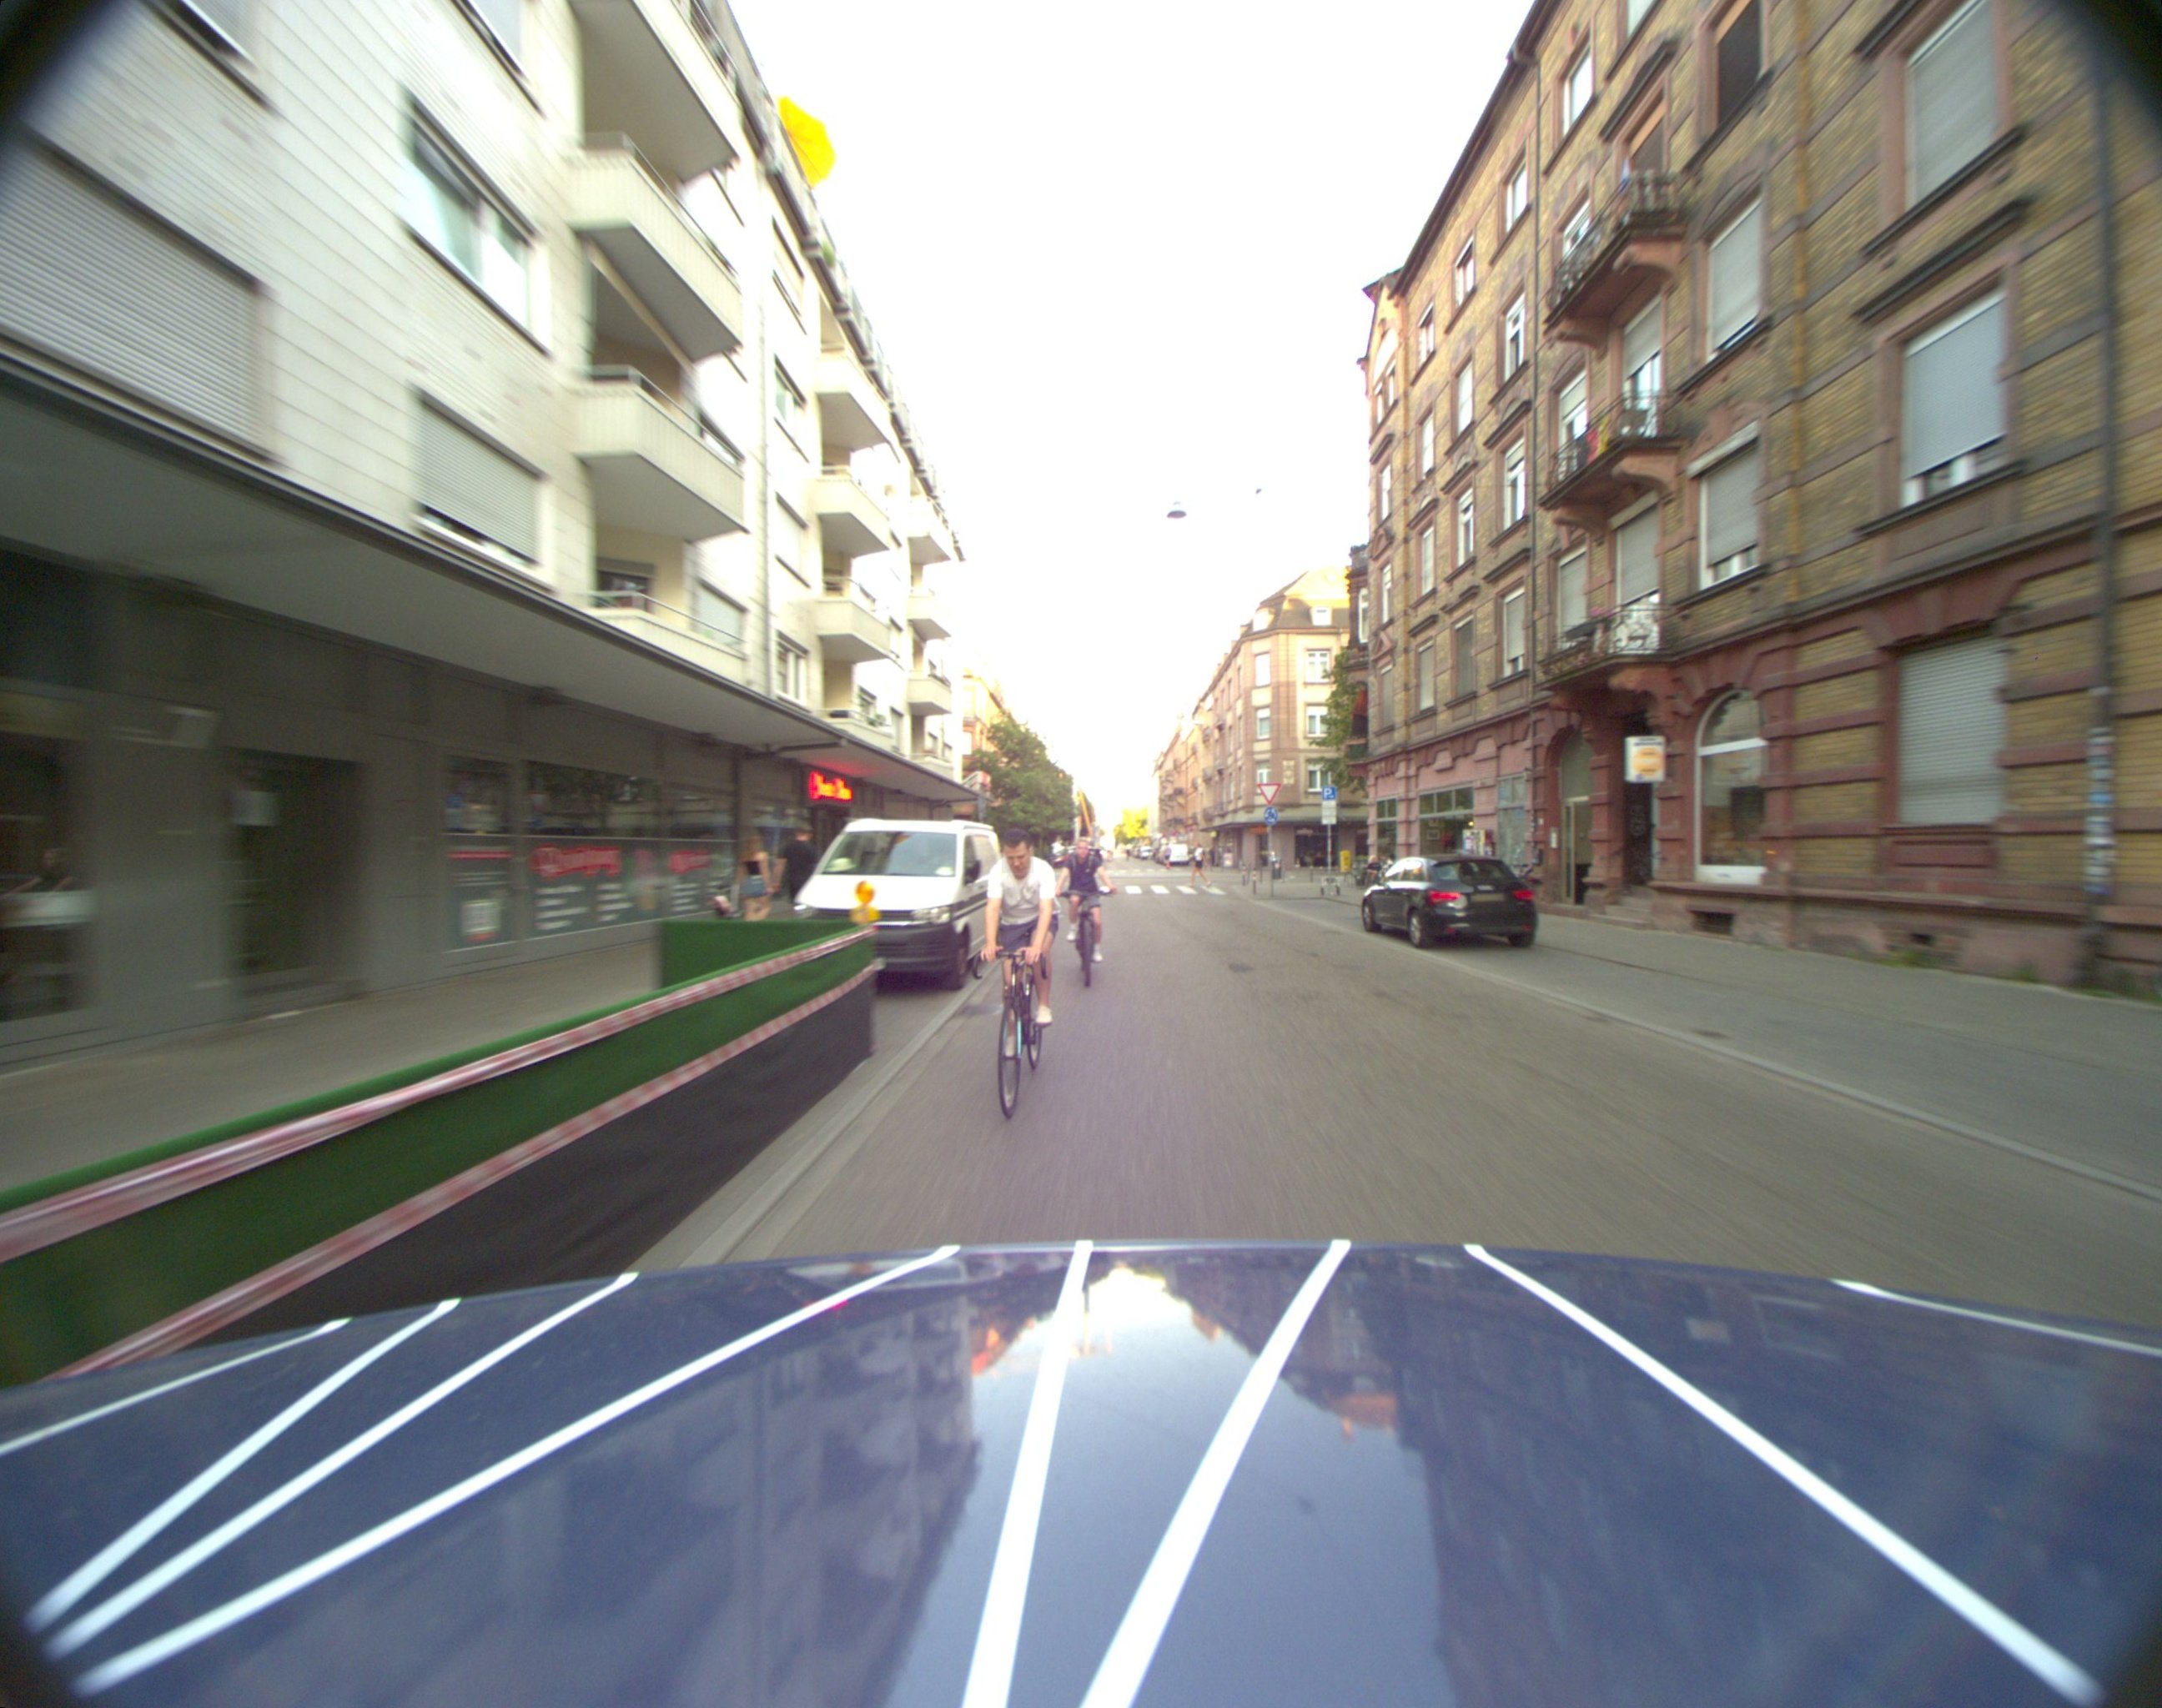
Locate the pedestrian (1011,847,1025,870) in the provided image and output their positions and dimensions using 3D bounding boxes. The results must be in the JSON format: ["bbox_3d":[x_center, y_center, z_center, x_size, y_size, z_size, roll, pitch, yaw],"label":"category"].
[{"bbox_3d":[-4.394,0.308,52.857,0.537,1.597,0.870,0,0,29],"label":"pedestrian"}]

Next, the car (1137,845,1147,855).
[{"bbox_3d":[11.631,-0.775,145.187,1.867,1.729,3.800,-1,2,5],"label":"car"}]

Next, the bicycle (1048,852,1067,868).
[{"bbox_3d":[-1.903,0.457,60.358,0.666,1.158,2.111,1,1,-25],"label":"bicycle"}]

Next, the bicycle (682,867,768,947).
[{"bbox_3d":[-5.934,0.850,12.782,0.913,1.189,1.709,1,1,-11],"label":"bicycle"}]

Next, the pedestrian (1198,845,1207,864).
[{"bbox_3d":[10.874,0.042,67.953,0.748,1.734,1.213,-1,1,7],"label":"pedestrian"}]

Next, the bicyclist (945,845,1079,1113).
[{"bbox_3d":[-0.393,0.706,4.769,0.650,1.500,0.953,-1,2,4],"label":"bicyclist"}]

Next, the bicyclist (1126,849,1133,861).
[{"bbox_3d":[6.894,0.155,107.541,0.754,1.631,1.201,-1,0,-4],"label":"bicyclist"}]

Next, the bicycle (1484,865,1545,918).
[{"bbox_3d":[9.576,0.794,16.838,0.426,1.047,1.898,-1,1,6],"label":"bicycle"}]

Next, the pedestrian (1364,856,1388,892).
[{"bbox_3d":[9.664,0.656,24.891,0.504,1.137,0.791,-1,2,4],"label":"pedestrian"}]

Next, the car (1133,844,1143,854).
[{"bbox_3d":[11.342,-0.977,150.908,1.908,1.729,3.850,-1,2,5],"label":"car"}]

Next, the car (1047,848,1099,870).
[{"bbox_3d":[-0.649,0.375,64.074,4.006,1.659,1.823,-2,2,-29],"label":"car"}]

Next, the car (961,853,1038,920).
[{"bbox_3d":[-2.016,0.767,19.627,1.596,1.492,3.423,1,1,0],"label":"car"}]

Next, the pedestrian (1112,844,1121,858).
[{"bbox_3d":[6.375,-0.534,137.038,1.394,2.465,1.237,0,1,19],"label":"pedestrian"}]

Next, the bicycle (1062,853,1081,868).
[{"bbox_3d":[-0.763,0.506,60.965,0.666,1.125,2.111,1,1,-25],"label":"bicycle"}]

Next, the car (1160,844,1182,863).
[{"bbox_3d":[9.034,-0.075,76.202,1.879,1.893,4.326,-1,1,3],"label":"car"}]

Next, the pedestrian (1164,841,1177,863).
[{"bbox_3d":[6.773,-0.170,57.570,0.809,1.650,0.672,0,1,-7],"label":"pedestrian"}]

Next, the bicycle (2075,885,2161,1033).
[{"bbox_3d":[9.041,0.877,5.729,0.528,1.164,2.048,-3,0,5],"label":"bicycle"}]

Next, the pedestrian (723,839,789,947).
[{"bbox_3d":[-5.175,0.604,12.135,0.710,1.656,0.744,1,2,2],"label":"pedestrian"}]

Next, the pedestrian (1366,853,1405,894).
[{"bbox_3d":[9.542,0.603,23.820,0.650,1.247,0.907,-4,1,-13],"label":"pedestrian"}]

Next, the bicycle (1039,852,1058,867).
[{"bbox_3d":[-2.576,0.441,60.069,0.666,1.158,2.111,1,1,-25],"label":"bicycle"}]

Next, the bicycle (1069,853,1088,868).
[{"bbox_3d":[-0.177,0.524,61.290,0.666,1.125,2.111,1,1,-25],"label":"bicycle"}]

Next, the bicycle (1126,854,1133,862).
[{"bbox_3d":[6.904,0.594,107.544,0.754,1.124,1.975,-1,0,-4],"label":"bicycle"}]

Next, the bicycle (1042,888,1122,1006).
[{"bbox_3d":[0.076,1.046,9.245,0.794,1.133,2.343,-2,0,4],"label":"bicycle"}]

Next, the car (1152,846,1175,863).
[{"bbox_3d":[8.941,0.016,82.385,2.140,1.811,4.540,-1,1,3],"label":"car"}]

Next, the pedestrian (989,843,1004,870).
[{"bbox_3d":[-6.012,0.180,53.989,0.673,1.858,0.911,-1,2,16],"label":"pedestrian"}]

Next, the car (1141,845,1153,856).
[{"bbox_3d":[10.848,-0.581,125.078,1.998,1.729,4.000,-1,2,5],"label":"car"}]

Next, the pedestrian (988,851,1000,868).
[{"bbox_3d":[-6.654,0.393,58.027,0.676,1.265,0.639,-2,2,-25],"label":"pedestrian"}]

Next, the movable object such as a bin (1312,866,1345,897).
[{"bbox_3d":[7.768,0.867,23.860,0.763,0.910,0.729,-1,2,-1],"label":"movable object such as a bin"}]

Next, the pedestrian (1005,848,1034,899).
[{"bbox_3d":[-1.927,0.602,23.843,0.649,1.591,0.590,0,2,-38],"label":"pedestrian"}]

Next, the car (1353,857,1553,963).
[{"bbox_3d":[5.928,0.805,12.648,1.697,1.412,3.855,-1,0,5],"label":"car"}]

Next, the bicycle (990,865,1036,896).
[{"bbox_3d":[-2.321,0.896,26.034,1.481,0.996,0.511,1,2,8],"label":"bicycle"}]

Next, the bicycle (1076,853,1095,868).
[{"bbox_3d":[0.325,0.521,61.742,0.666,1.162,2.111,1,1,-25],"label":"bicycle"}]

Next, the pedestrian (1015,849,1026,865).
[{"bbox_3d":[-4.854,0.227,61.283,0.721,1.298,0.750,-1,1,-18],"label":"pedestrian"}]

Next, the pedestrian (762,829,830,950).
[{"bbox_3d":[-4.430,0.520,11.853,0.710,1.818,0.860,1,2,2],"label":"pedestrian"}]

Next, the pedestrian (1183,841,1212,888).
[{"bbox_3d":[4.622,0.414,30.070,1.047,1.800,0.757,-2,-1,13],"label":"pedestrian"}]

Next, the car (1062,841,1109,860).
[{"bbox_3d":[0.533,-0.436,92.694,5.152,2.182,2.333,-2,2,-23],"label":"car"}]

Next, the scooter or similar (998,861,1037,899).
[{"bbox_3d":[-1.992,0.821,23.857,0.535,1.164,1.166,0,-1,42],"label":"scooter or similar"}]

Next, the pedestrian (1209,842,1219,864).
[{"bbox_3d":[10.861,-0.084,62.104,0.654,1.768,0.693,-1,0,20],"label":"pedestrian"}]

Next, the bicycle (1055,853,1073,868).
[{"bbox_3d":[-1.369,0.480,60.627,0.666,1.125,2.111,1,1,-25],"label":"bicycle"}]

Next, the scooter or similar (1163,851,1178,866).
[{"bbox_3d":[6.776,0.362,57.542,0.809,1.098,1.171,0,1,-7],"label":"scooter or similar"}]

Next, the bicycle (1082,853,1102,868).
[{"bbox_3d":[0.888,0.535,61.597,0.666,1.162,2.111,1,1,-25],"label":"bicycle"}]

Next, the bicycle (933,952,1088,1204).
[{"bbox_3d":[-0.359,1.297,4.926,0.658,1.012,1.918,-1,2,4],"label":"bicycle"}]

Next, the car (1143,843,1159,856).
[{"bbox_3d":[10.156,-0.674,110.492,2.141,1.811,4.540,-1,1,2],"label":"car"}]

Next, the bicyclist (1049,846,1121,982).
[{"bbox_3d":[0.067,0.704,9.245,0.794,1.562,0.826,-2,0,4],"label":"bicyclist"}]

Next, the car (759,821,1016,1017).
[{"bbox_3d":[-2.204,0.651,10.275,1.963,1.962,5.003,1,0,2],"label":"car"}]

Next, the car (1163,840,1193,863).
[{"bbox_3d":[8.913,-0.268,70.059,2.141,1.947,4.769,-1,1,1],"label":"car"}]
